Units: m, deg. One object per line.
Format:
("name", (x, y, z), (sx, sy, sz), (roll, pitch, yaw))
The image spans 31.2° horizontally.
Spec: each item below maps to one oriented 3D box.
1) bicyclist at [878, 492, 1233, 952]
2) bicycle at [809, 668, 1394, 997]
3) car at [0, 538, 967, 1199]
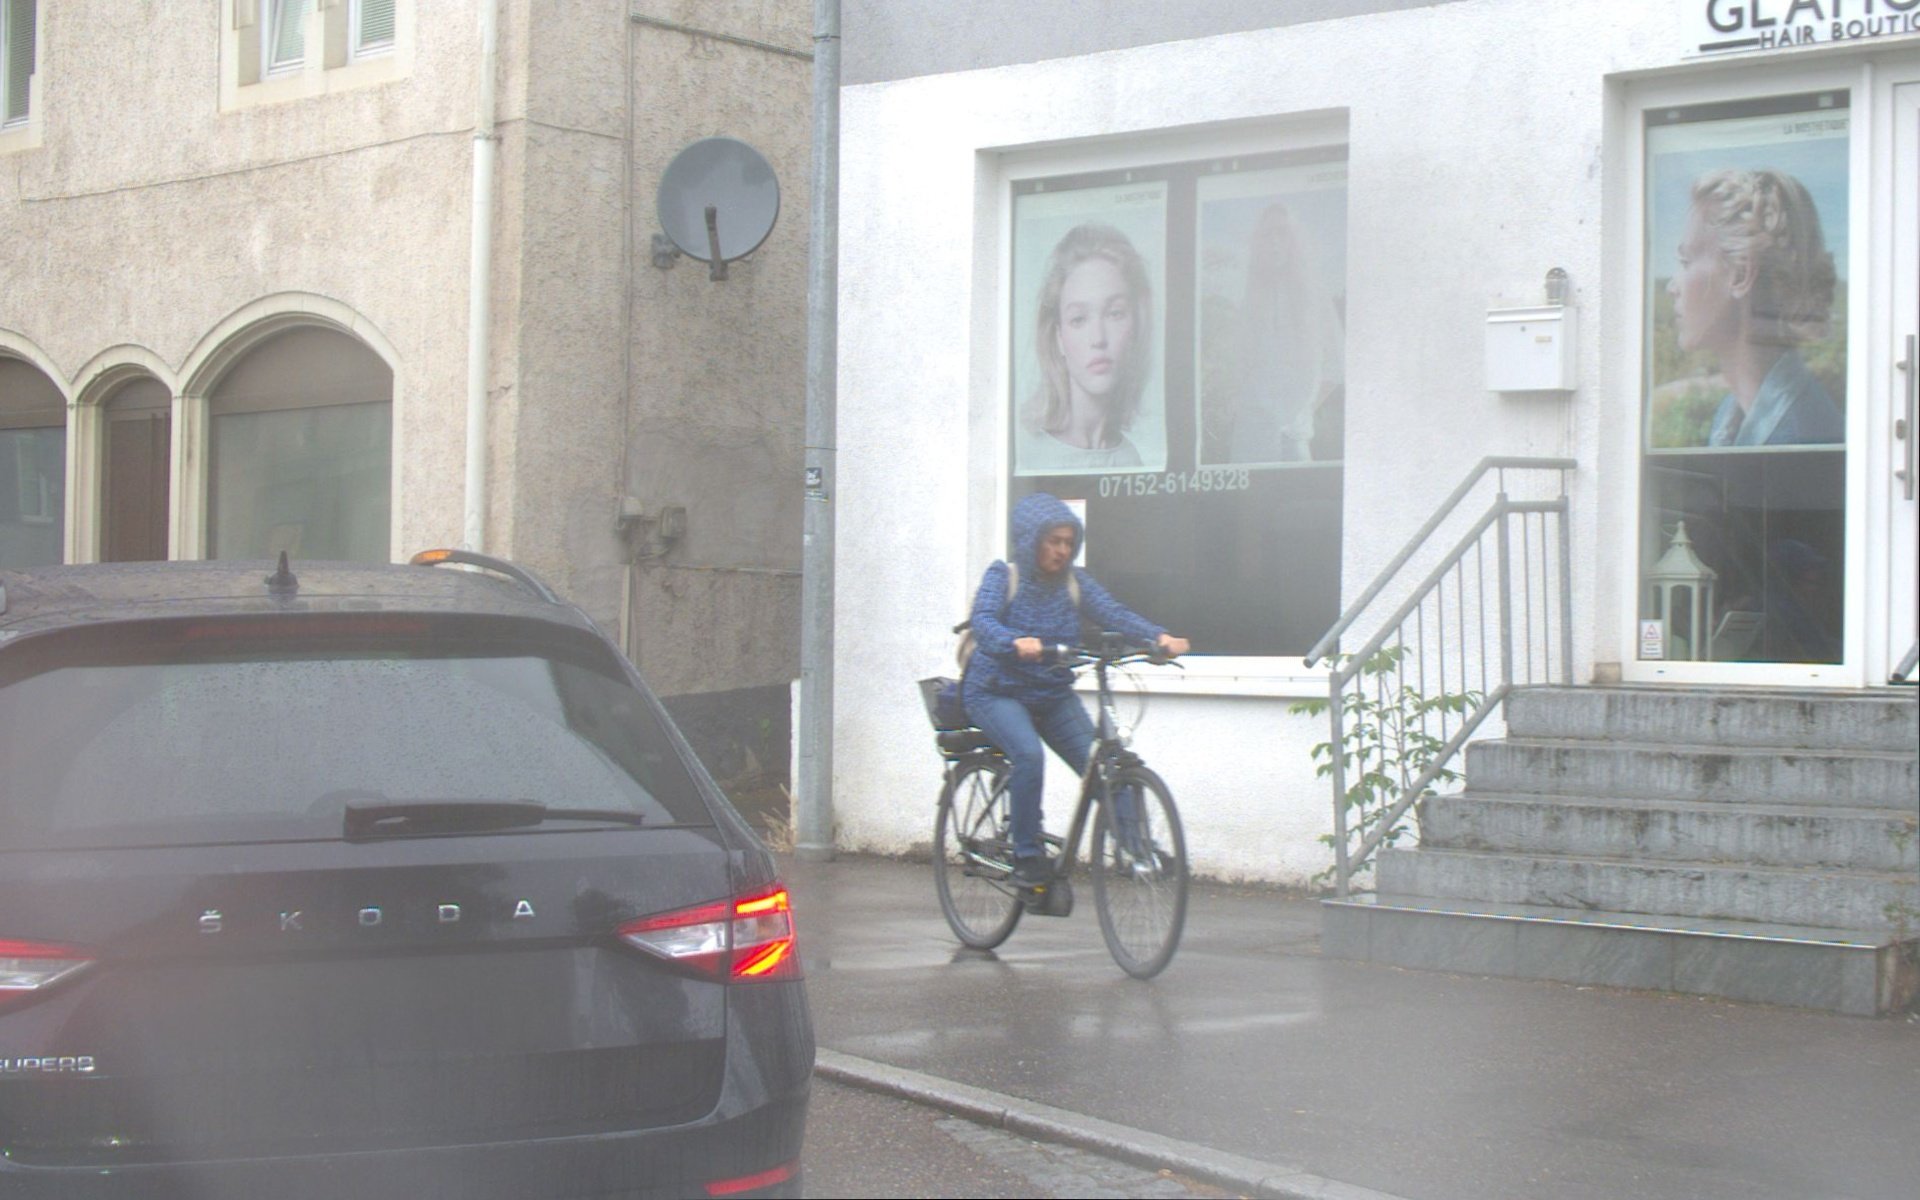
("bicyclist", (0.323, 0.391, 11.942), (0.683, 1.512, 1.030), (0, 1, -41))
("bicycle", (0.446, 0.798, 11.806), (0.761, 1.031, 2.080), (5, -6, -42))
("car", (-1.648, 0.623, 7.286), (1.886, 1.443, 4.358), (2, 1, -20))
